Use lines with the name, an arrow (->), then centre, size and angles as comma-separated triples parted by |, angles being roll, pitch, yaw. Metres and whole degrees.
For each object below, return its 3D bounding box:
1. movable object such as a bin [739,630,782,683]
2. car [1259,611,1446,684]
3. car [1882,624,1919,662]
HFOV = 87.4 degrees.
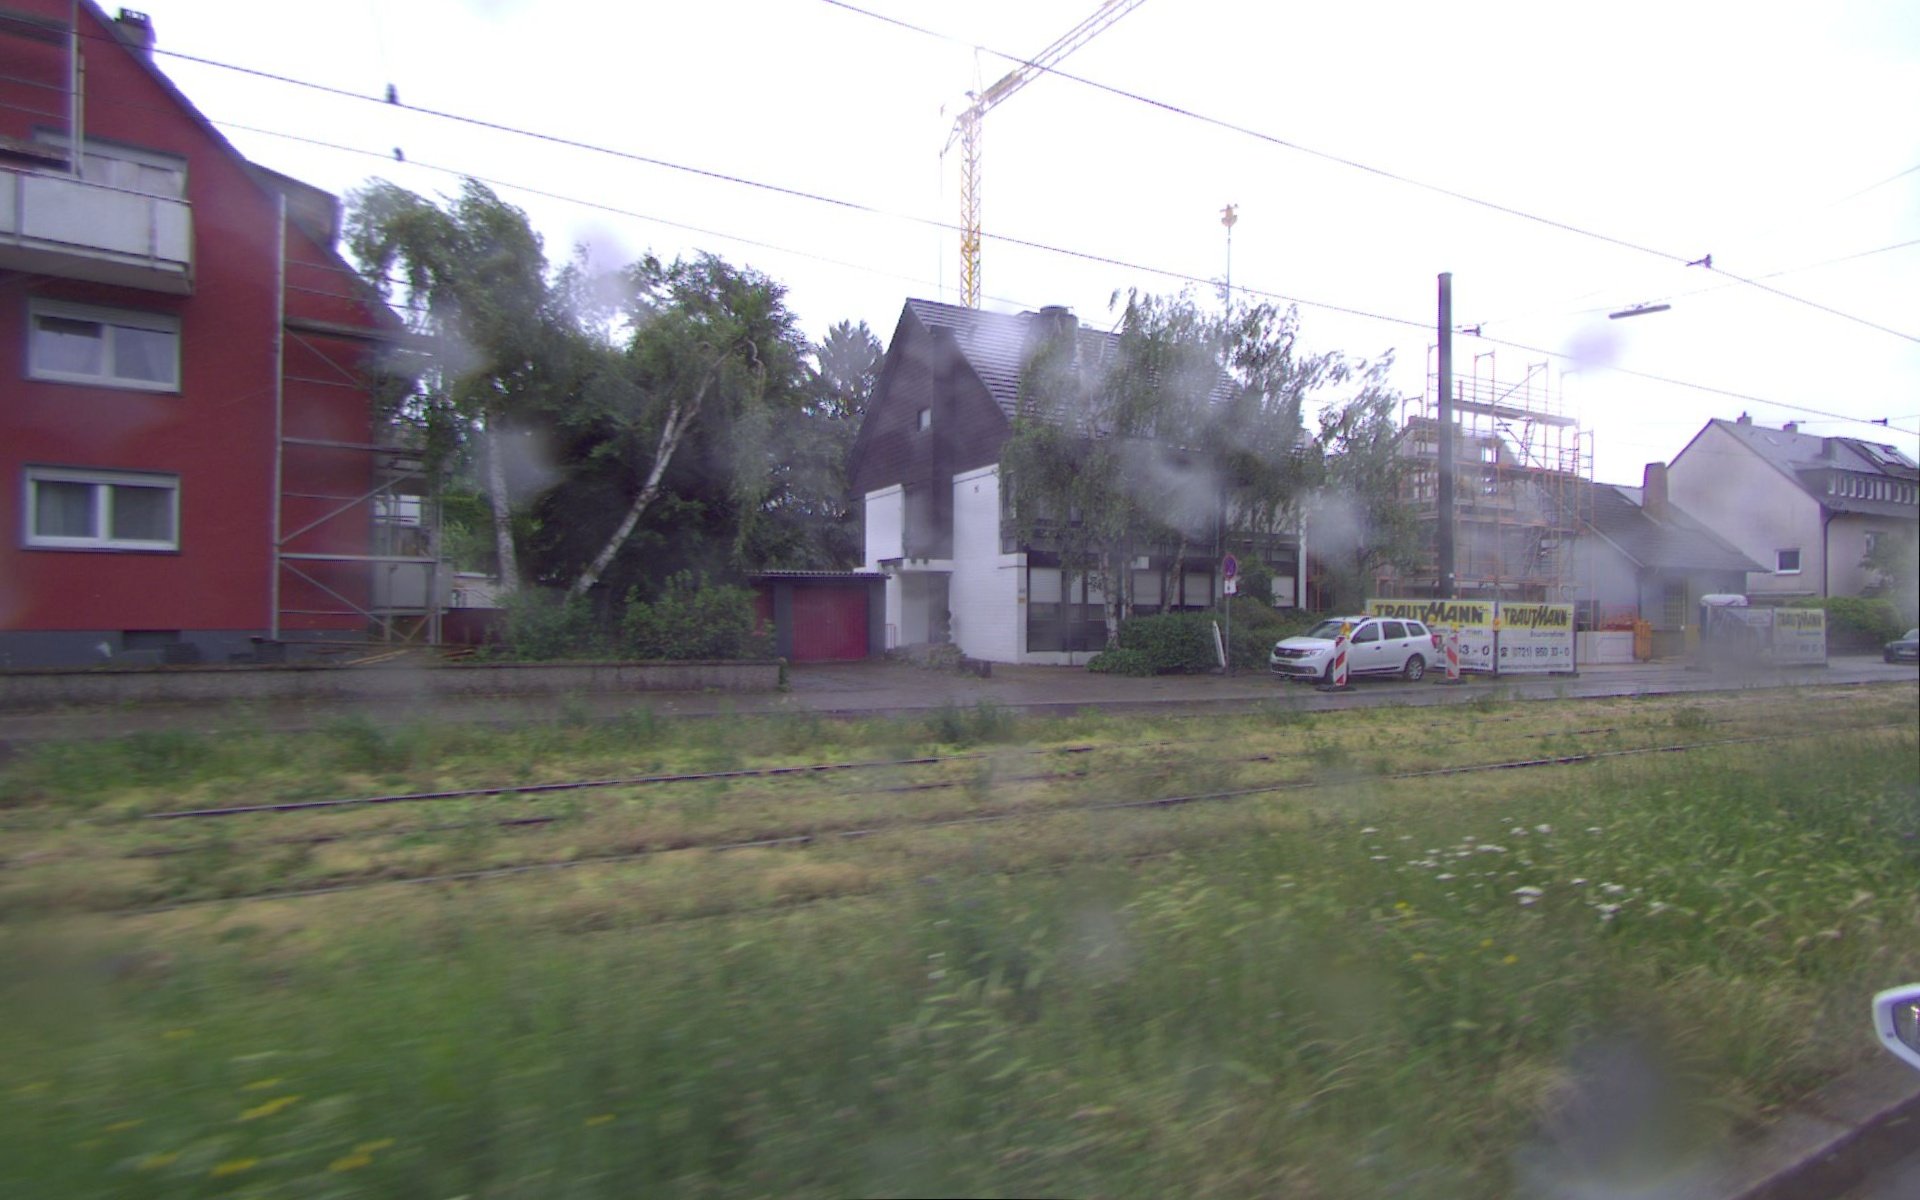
movable object such as a bin -> -4.290, 1.206, 21.592 | 0.748, 1.106, 0.641 | 0, -1, -28
car -> 9.474, 1.083, 24.219 | 4.364, 1.563, 1.704 | 0, 1, -27
car -> 35.600, 1.558, 36.615 | 4.019, 1.261, 1.657 | 1, 1, -27
